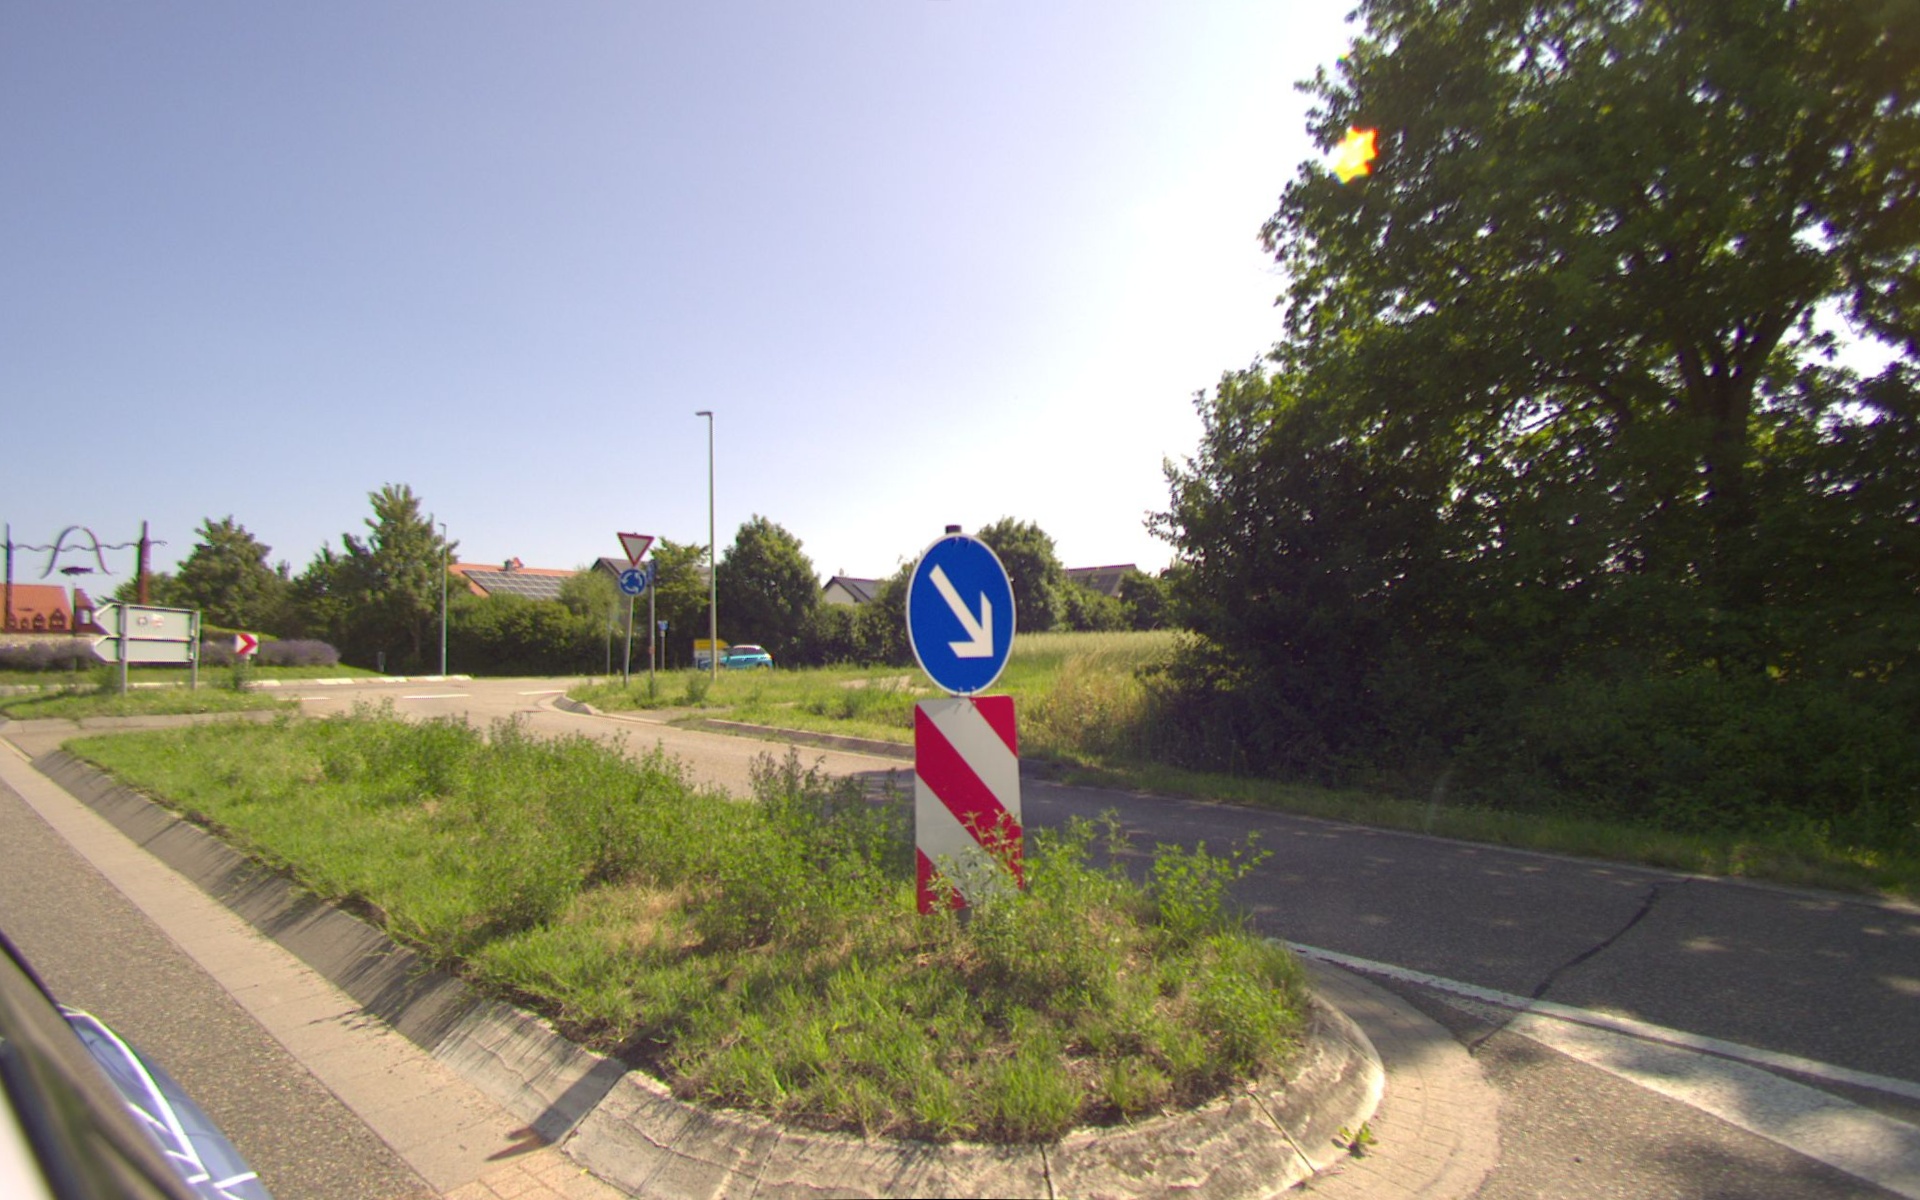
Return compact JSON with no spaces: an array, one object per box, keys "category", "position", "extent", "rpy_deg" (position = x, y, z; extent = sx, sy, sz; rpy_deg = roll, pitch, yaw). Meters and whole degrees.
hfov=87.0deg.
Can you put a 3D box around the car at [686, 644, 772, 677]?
[{"category":"car","position":[-11.545,3.042,50.708],"extent":[3.941,1.588,1.650],"rpy_deg":[3,-4,-45]}]
